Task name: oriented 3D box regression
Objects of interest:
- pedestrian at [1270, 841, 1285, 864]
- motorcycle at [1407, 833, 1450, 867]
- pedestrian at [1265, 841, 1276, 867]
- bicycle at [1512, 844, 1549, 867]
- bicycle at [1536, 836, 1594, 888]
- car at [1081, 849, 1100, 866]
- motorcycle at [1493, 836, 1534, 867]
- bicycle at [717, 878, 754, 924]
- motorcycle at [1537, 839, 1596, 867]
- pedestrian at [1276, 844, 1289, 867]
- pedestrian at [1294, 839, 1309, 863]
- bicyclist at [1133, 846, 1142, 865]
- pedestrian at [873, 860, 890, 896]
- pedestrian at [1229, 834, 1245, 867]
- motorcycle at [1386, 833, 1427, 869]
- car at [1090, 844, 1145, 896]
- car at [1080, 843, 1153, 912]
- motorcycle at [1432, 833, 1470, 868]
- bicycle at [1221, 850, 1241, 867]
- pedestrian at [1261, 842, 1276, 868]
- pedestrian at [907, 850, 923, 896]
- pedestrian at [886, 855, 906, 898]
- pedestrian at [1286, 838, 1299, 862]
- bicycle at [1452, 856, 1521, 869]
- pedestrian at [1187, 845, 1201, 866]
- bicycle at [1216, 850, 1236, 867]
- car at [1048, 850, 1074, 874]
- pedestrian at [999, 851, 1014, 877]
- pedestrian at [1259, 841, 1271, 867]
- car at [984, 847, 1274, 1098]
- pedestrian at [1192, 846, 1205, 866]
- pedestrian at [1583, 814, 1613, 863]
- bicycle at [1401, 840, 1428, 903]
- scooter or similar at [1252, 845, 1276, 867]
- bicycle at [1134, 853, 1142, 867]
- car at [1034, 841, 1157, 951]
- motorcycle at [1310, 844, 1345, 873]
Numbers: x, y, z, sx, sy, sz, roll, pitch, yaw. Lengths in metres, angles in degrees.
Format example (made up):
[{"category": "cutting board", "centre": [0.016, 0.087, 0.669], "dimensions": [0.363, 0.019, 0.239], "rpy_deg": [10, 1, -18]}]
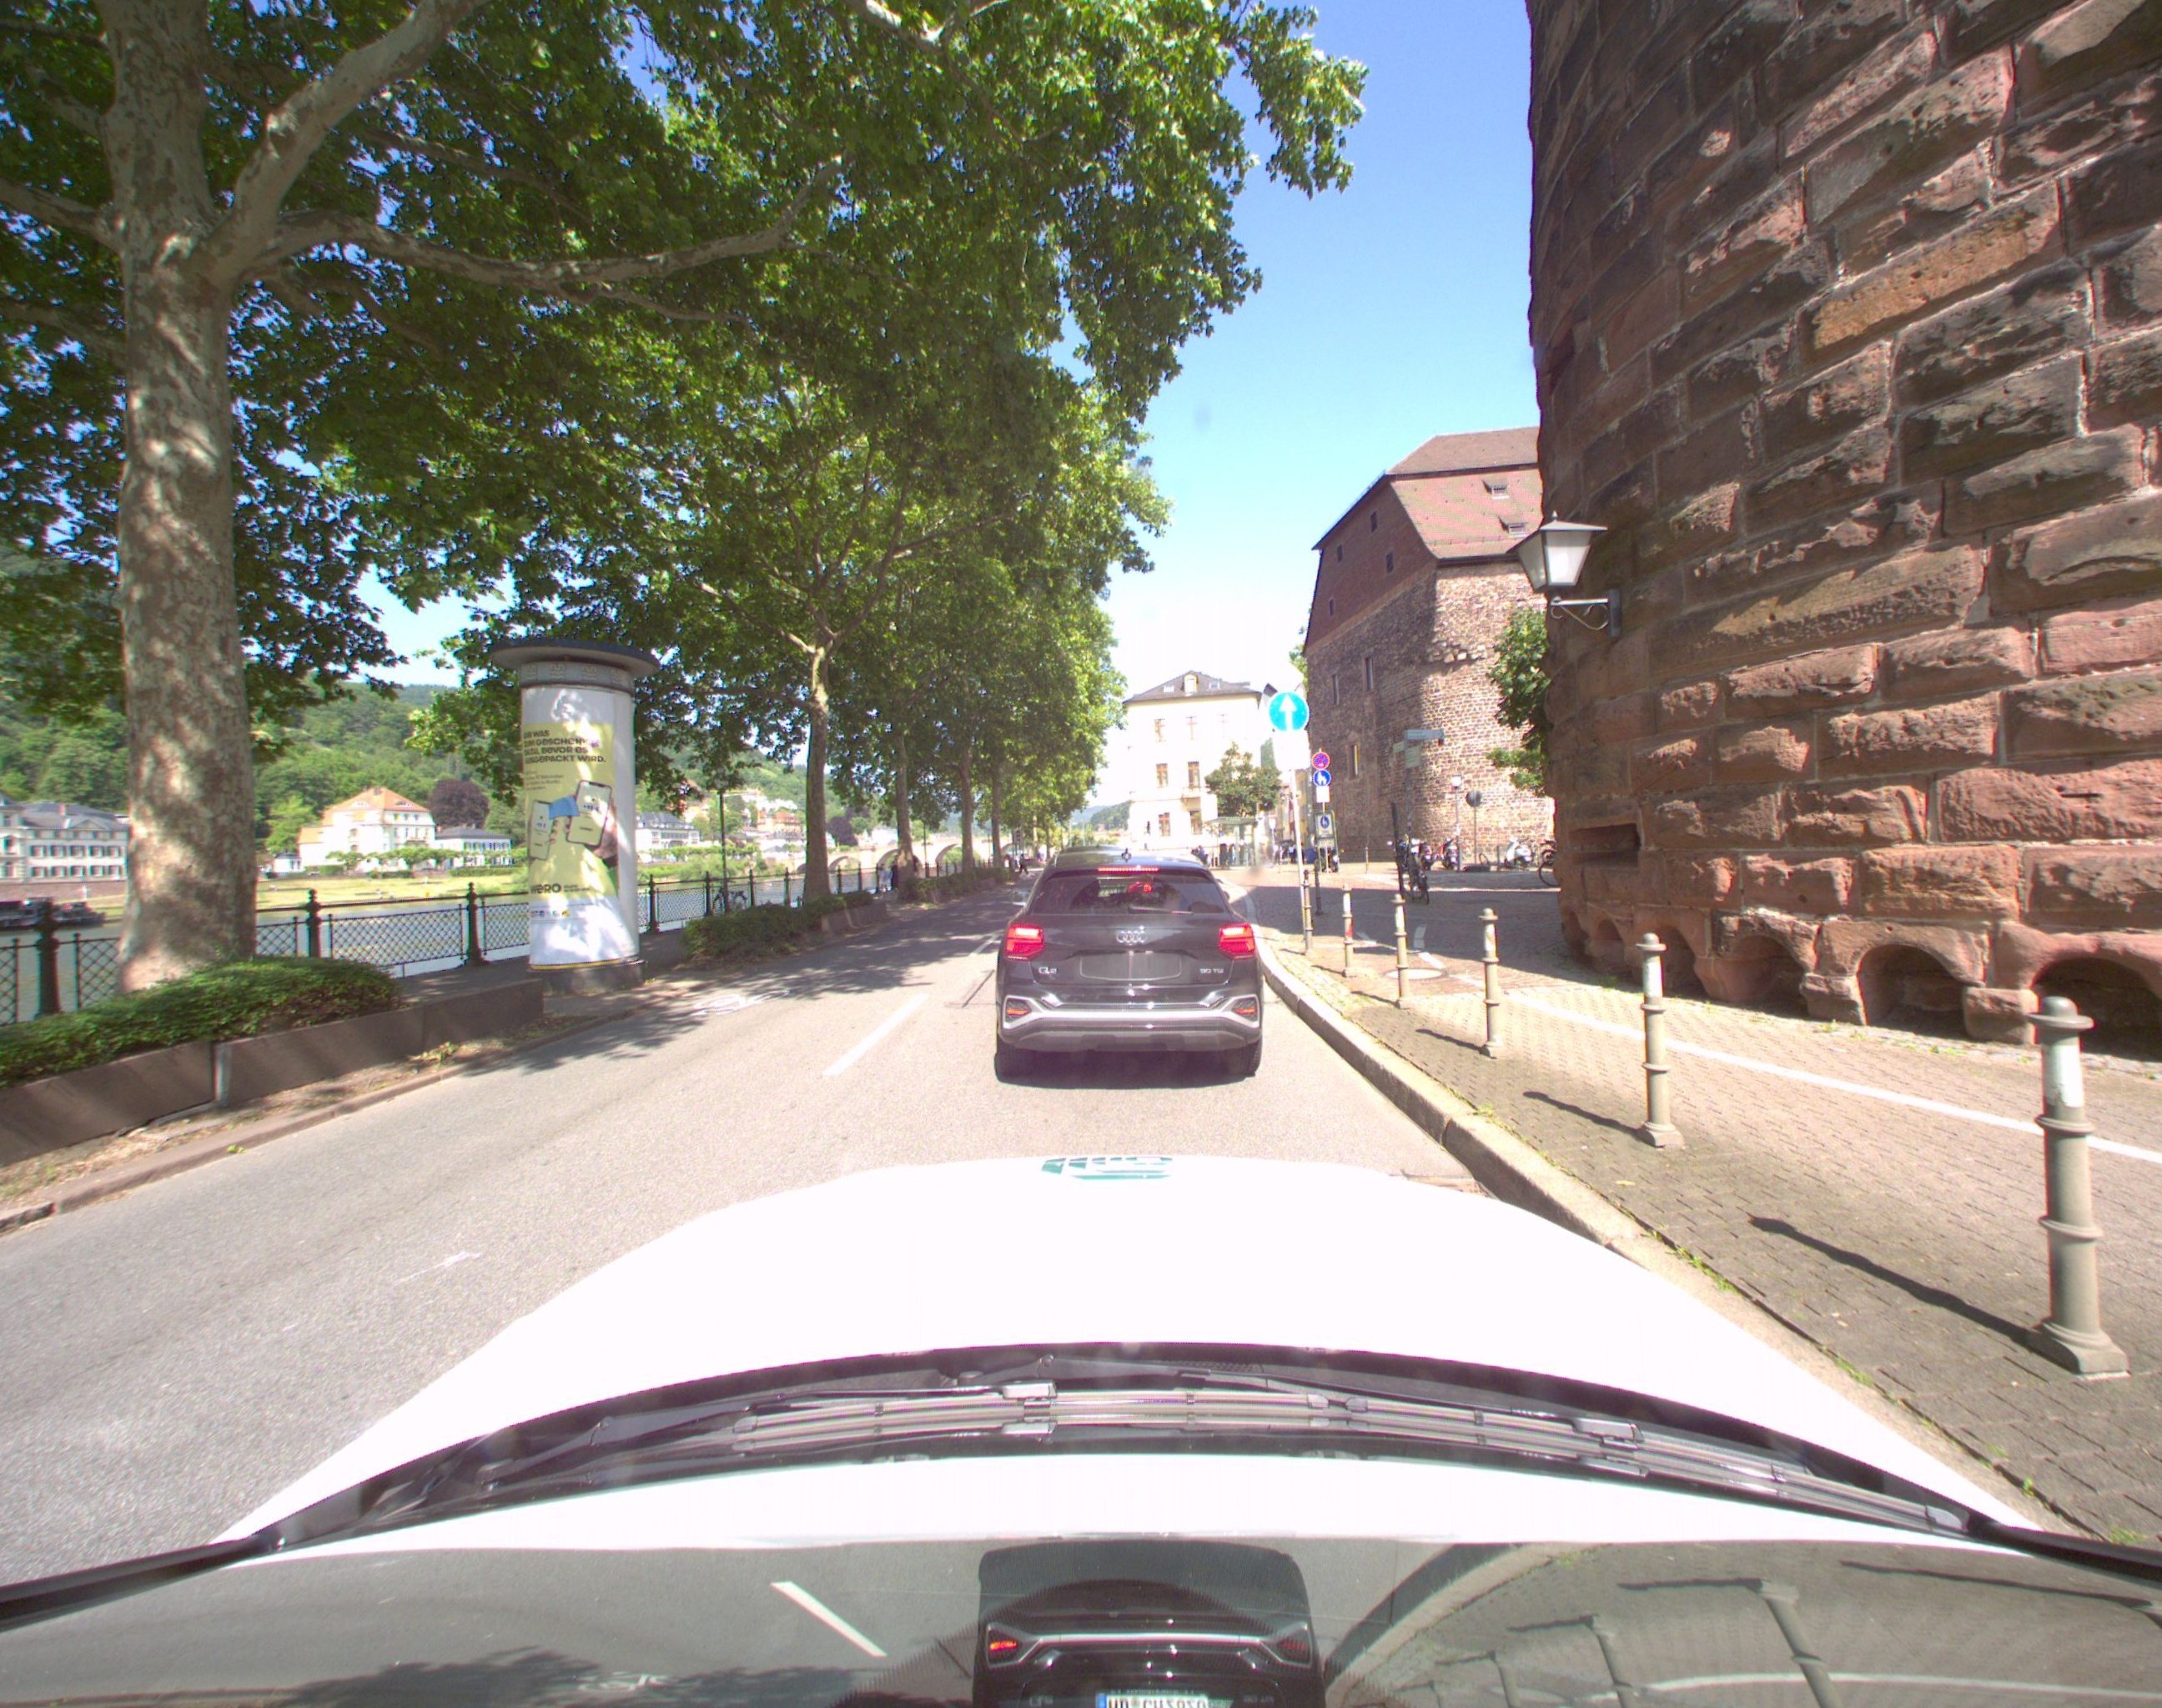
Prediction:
[{"category": "pedestrian", "centre": [12.714, -0.070, 52.614], "dimensions": [0.637, 1.444, 0.797], "rpy_deg": [-4, 0, -5]}, {"category": "motorcycle", "centre": [12.877, -0.130, 30.235], "dimensions": [0.672, 1.235, 2.313], "rpy_deg": [-1, -1, 2]}, {"category": "pedestrian", "centre": [17.183, -0.007, 73.913], "dimensions": [0.876, 2.358, 0.745], "rpy_deg": [0, -1, 1]}, {"category": "bicycle", "centre": [16.630, 0.048, 30.158], "dimensions": [0.352, 0.820, 1.926], "rpy_deg": [0, 1, 1]}, {"category": "bicycle", "centre": [11.541, 0.173, 19.475], "dimensions": [0.444, 1.162, 1.733], "rpy_deg": [-2, 0, 5]}, {"category": "car", "centre": [1.078, 0.417, 90.662], "dimensions": [1.985, 1.806, 4.003], "rpy_deg": [-1, -1, 3]}, {"category": "motorcycle", "centre": [15.459, -0.080, 29.158], "dimensions": [0.505, 1.073, 1.841], "rpy_deg": [0, -1, 2]}, {"category": "bicycle", "centre": [-8.886, 1.202, 20.976], "dimensions": [0.358, 1.091, 1.296], "rpy_deg": [1, 0, 1]}, {"category": "motorcycle", "centre": [18.320, -0.040, 30.771], "dimensions": [1.854, 1.054, 0.481], "rpy_deg": [-1, -1, 9]}, {"category": "pedestrian", "centre": [18.313, 0.140, 73.995], "dimensions": [0.941, 2.014, 0.808], "rpy_deg": [-1, -1, 2]}, {"category": "pedestrian", "centre": [15.349, -0.205, 56.675], "dimensions": [0.688, 1.612, 0.892], "rpy_deg": [-4, 0, 1]}, {"category": "bicyclist", "centre": [4.355, 0.147, 62.540], "dimensions": [0.604, 1.450, 0.590], "rpy_deg": [0, -1, -3]}, {"category": "pedestrian", "centre": [-7.721, 0.940, 31.567], "dimensions": [0.476, 1.362, 0.418], "rpy_deg": [-1, 0, 5]}, {"category": "pedestrian", "centre": [8.104, -0.195, 42.232], "dimensions": [0.651, 1.662, 0.810], "rpy_deg": [-3, 0, 3]}, {"category": "motorcycle", "centre": [11.947, -0.091, 29.947], "dimensions": [0.653, 1.266, 2.201], "rpy_deg": [-2, -1, 2]}, {"category": "car", "centre": [1.263, 0.508, 28.630], "dimensions": [1.788, 1.682, 4.002], "rpy_deg": [-1, 0, 2]}, {"category": "car", "centre": [0.915, 0.567, 21.380], "dimensions": [1.704, 1.609, 3.656], "rpy_deg": [-1, 0, 2]}, {"category": "motorcycle", "centre": [13.710, -0.117, 30.227], "dimensions": [0.544, 1.235, 2.031], "rpy_deg": [0, -1, 2]}, {"category": "bicycle", "centre": [9.015, 0.257, 48.927], "dimensions": [1.205, 1.035, 0.178], "rpy_deg": [0, -1, -17]}, {"category": "pedestrian", "centre": [14.617, 0.047, 63.473], "dimensions": [0.938, 2.014, 0.806], "rpy_deg": [0, -1, -4]}, {"category": "pedestrian", "centre": [-6.775, 0.770, 33.318], "dimensions": [0.532, 1.887, 0.437], "rpy_deg": [-1, 0, 1]}, {"category": "pedestrian", "centre": [-7.550, 0.916, 33.287], "dimensions": [0.599, 1.685, 0.583], "rpy_deg": [-3, 0, 0]}, {"category": "pedestrian", "centre": [14.730, -0.248, 56.731], "dimensions": [0.605, 1.619, 0.711], "rpy_deg": [-4, -1, 1]}, {"category": "bicycle", "centre": [13.592, 0.288, 27.360], "dimensions": [1.914, 0.381, 0.921], "rpy_deg": [-2, -1, 16]}, {"category": "pedestrian", "centre": [6.776, 0.098, 48.888], "dimensions": [0.662, 1.231, 0.640], "rpy_deg": [0, -1, -5]}, {"category": "bicycle", "centre": [8.829, 0.258, 49.574], "dimensions": [1.187, 1.016, 0.178], "rpy_deg": [0, -1, -17]}, {"category": "car", "centre": [-1.496, 0.571, 62.982], "dimensions": [1.667, 1.660, 4.224], "rpy_deg": [-5, 0, 1]}, {"category": "pedestrian", "centre": [-5.164, 0.711, 56.287], "dimensions": [0.906, 1.811, 0.586], "rpy_deg": [-1, -2, 6]}, {"category": "pedestrian", "centre": [9.583, 0.005, 42.428], "dimensions": [0.555, 1.385, 0.588], "rpy_deg": [-1, -1, 4]}, {"category": "car", "centre": [0.348, 0.702, 6.735], "dimensions": [1.736, 1.509, 3.649], "rpy_deg": [0, 0, 2]}, {"category": "pedestrian", "centre": [6.935, 0.115, 48.148], "dimensions": [0.662, 1.211, 0.640], "rpy_deg": [0, -1, -5]}, {"category": "pedestrian", "centre": [21.670, -0.628, 34.159], "dimensions": [0.868, 2.014, 0.735], "rpy_deg": [-1, -1, 16]}, {"category": "bicycle", "centre": [6.850, 0.328, 16.759], "dimensions": [0.192, 1.203, 1.775], "rpy_deg": [-2, 1, 13]}, {"category": "scooter or similar", "centre": [8.823, 0.093, 39.353], "dimensions": [1.085, 1.066, 0.323], "rpy_deg": [0, -1, -1]}, {"category": "bicycle", "centre": [4.377, 0.459, 62.502], "dimensions": [0.436, 1.086, 1.675], "rpy_deg": [0, -1, -2]}, {"category": "car", "centre": [0.261, 0.604, 13.592], "dimensions": [1.786, 1.595, 3.400], "rpy_deg": [0, 0, 2]}, {"category": "motorcycle", "centre": [9.058, 0.159, 30.022], "dimensions": [0.564, 1.012, 2.490], "rpy_deg": [-3, 0, 1]}]
